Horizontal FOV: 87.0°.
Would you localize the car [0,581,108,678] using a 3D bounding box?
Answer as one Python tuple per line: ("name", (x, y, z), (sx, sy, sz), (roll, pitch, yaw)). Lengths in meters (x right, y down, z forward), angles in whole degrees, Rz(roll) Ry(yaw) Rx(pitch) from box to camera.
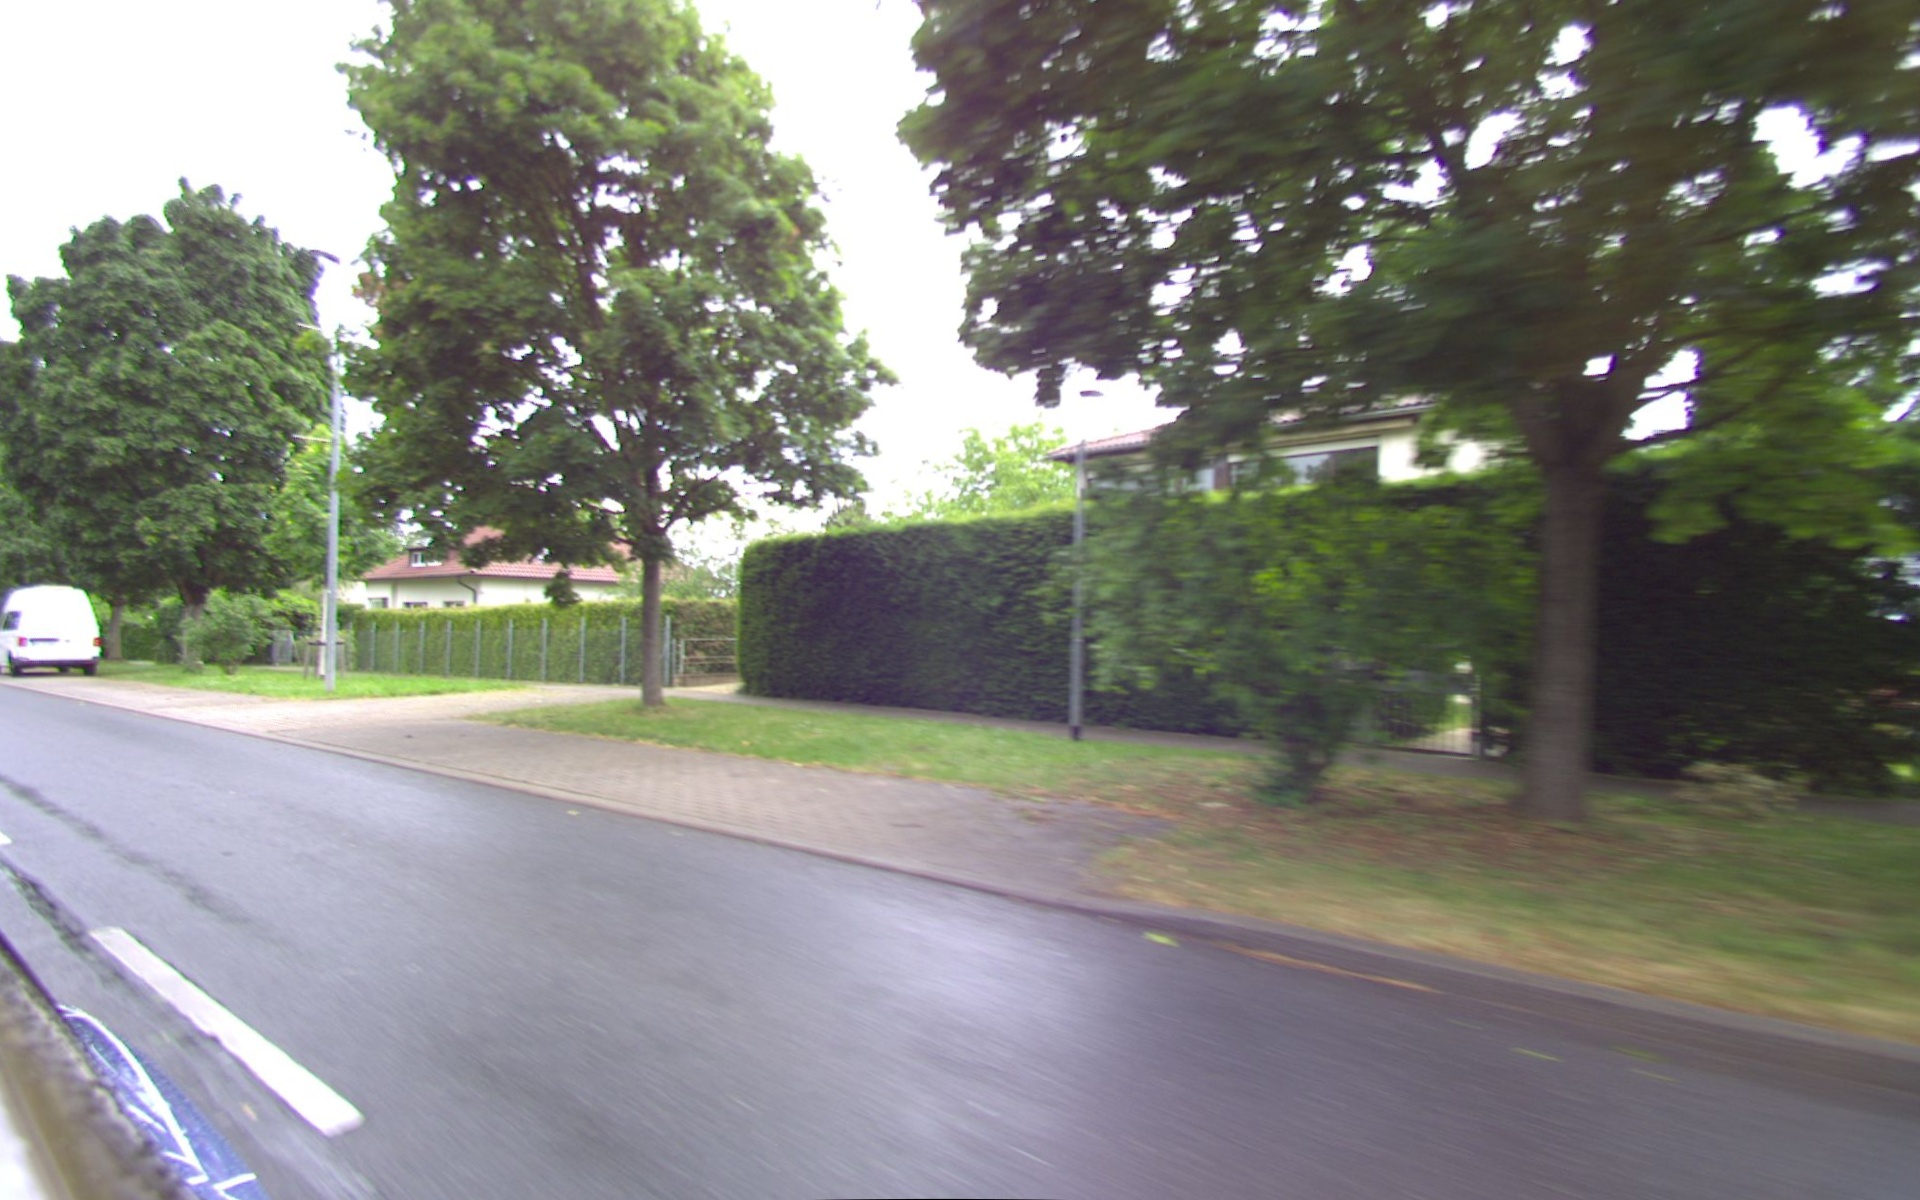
("car", (-26.765, 0.874, 29.440), (5.226, 2.580, 1.974), (-2, -3, 38))
